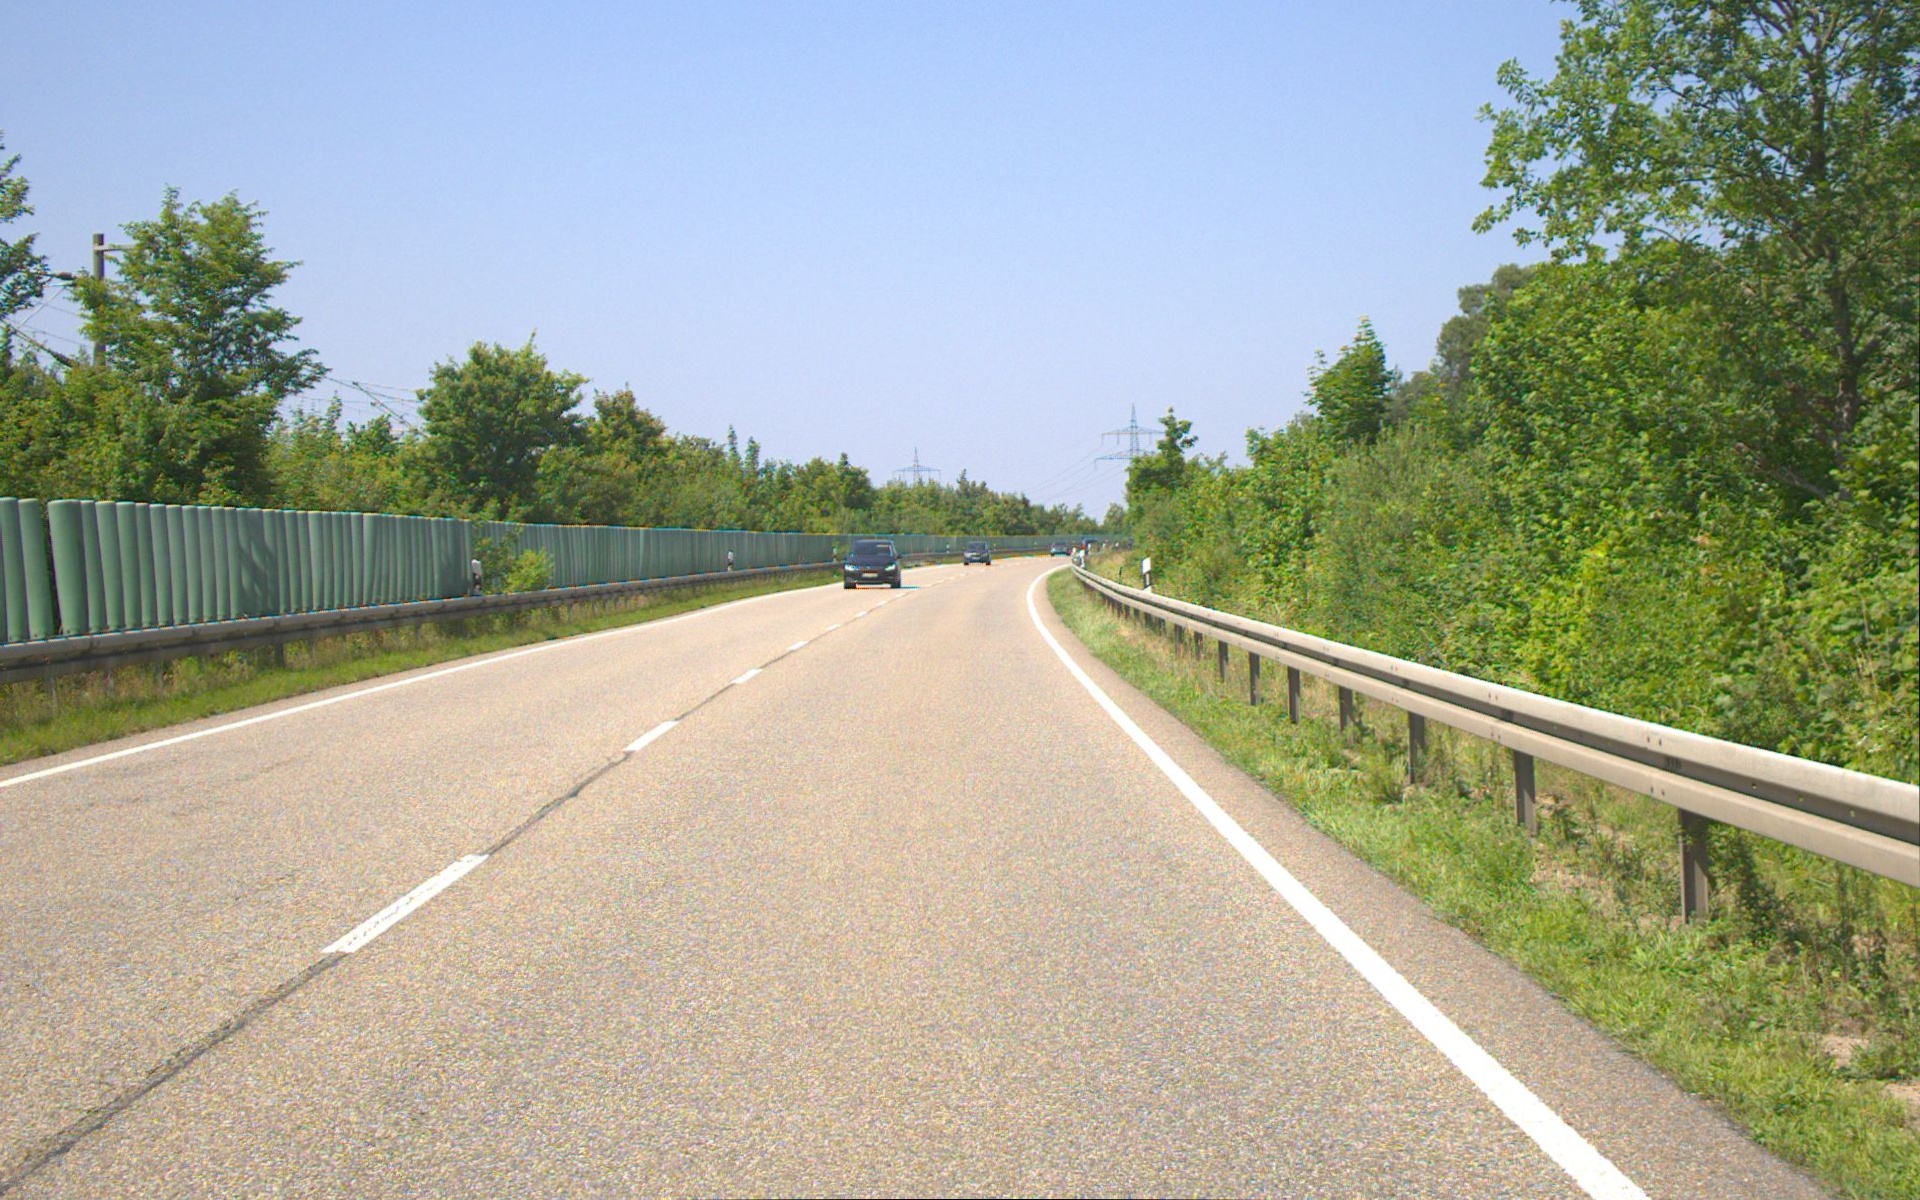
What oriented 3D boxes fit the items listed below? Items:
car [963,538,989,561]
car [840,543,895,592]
[{"bbox_3d":[1.004,-3.252,221.588,1.648,1.474,3.677,0,1,0],"label":"car"},{"bbox_3d":[-3.101,-1.104,115.931,1.764,1.634,4.126,0,1,0],"label":"car"}]
